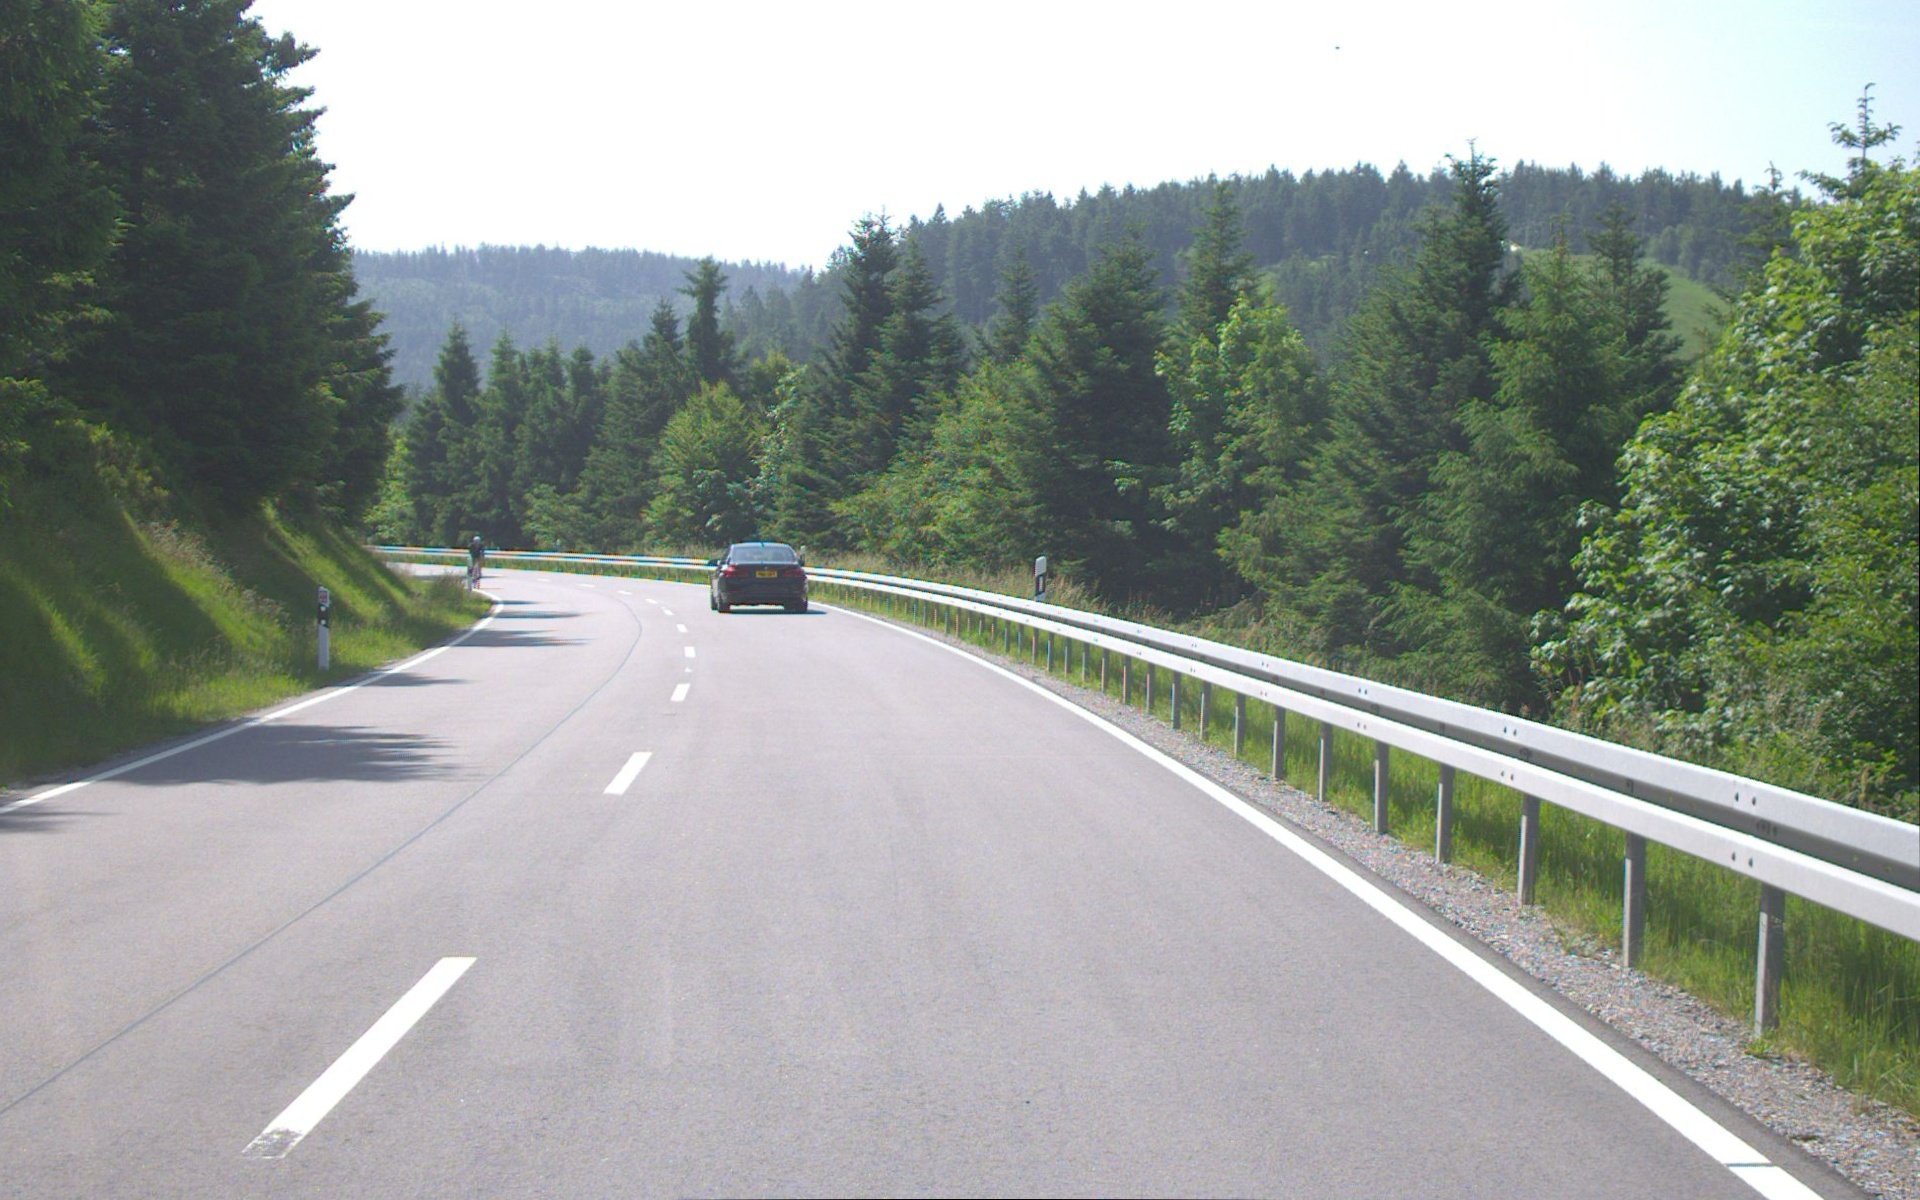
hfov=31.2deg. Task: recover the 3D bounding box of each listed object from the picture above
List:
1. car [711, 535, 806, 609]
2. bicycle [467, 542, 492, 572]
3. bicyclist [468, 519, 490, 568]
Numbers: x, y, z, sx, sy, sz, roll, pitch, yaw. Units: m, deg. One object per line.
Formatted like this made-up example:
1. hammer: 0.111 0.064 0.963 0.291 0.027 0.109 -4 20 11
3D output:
1. car: -4.137 -0.592 70.131 1.775 1.437 3.710 -1 1 -6
2. bicycle: -14.590 -1.305 104.353 0.553 0.883 2.063 -1 1 -14
3. bicyclist: -14.585 -1.715 104.261 0.541 1.446 0.984 -1 1 -14
